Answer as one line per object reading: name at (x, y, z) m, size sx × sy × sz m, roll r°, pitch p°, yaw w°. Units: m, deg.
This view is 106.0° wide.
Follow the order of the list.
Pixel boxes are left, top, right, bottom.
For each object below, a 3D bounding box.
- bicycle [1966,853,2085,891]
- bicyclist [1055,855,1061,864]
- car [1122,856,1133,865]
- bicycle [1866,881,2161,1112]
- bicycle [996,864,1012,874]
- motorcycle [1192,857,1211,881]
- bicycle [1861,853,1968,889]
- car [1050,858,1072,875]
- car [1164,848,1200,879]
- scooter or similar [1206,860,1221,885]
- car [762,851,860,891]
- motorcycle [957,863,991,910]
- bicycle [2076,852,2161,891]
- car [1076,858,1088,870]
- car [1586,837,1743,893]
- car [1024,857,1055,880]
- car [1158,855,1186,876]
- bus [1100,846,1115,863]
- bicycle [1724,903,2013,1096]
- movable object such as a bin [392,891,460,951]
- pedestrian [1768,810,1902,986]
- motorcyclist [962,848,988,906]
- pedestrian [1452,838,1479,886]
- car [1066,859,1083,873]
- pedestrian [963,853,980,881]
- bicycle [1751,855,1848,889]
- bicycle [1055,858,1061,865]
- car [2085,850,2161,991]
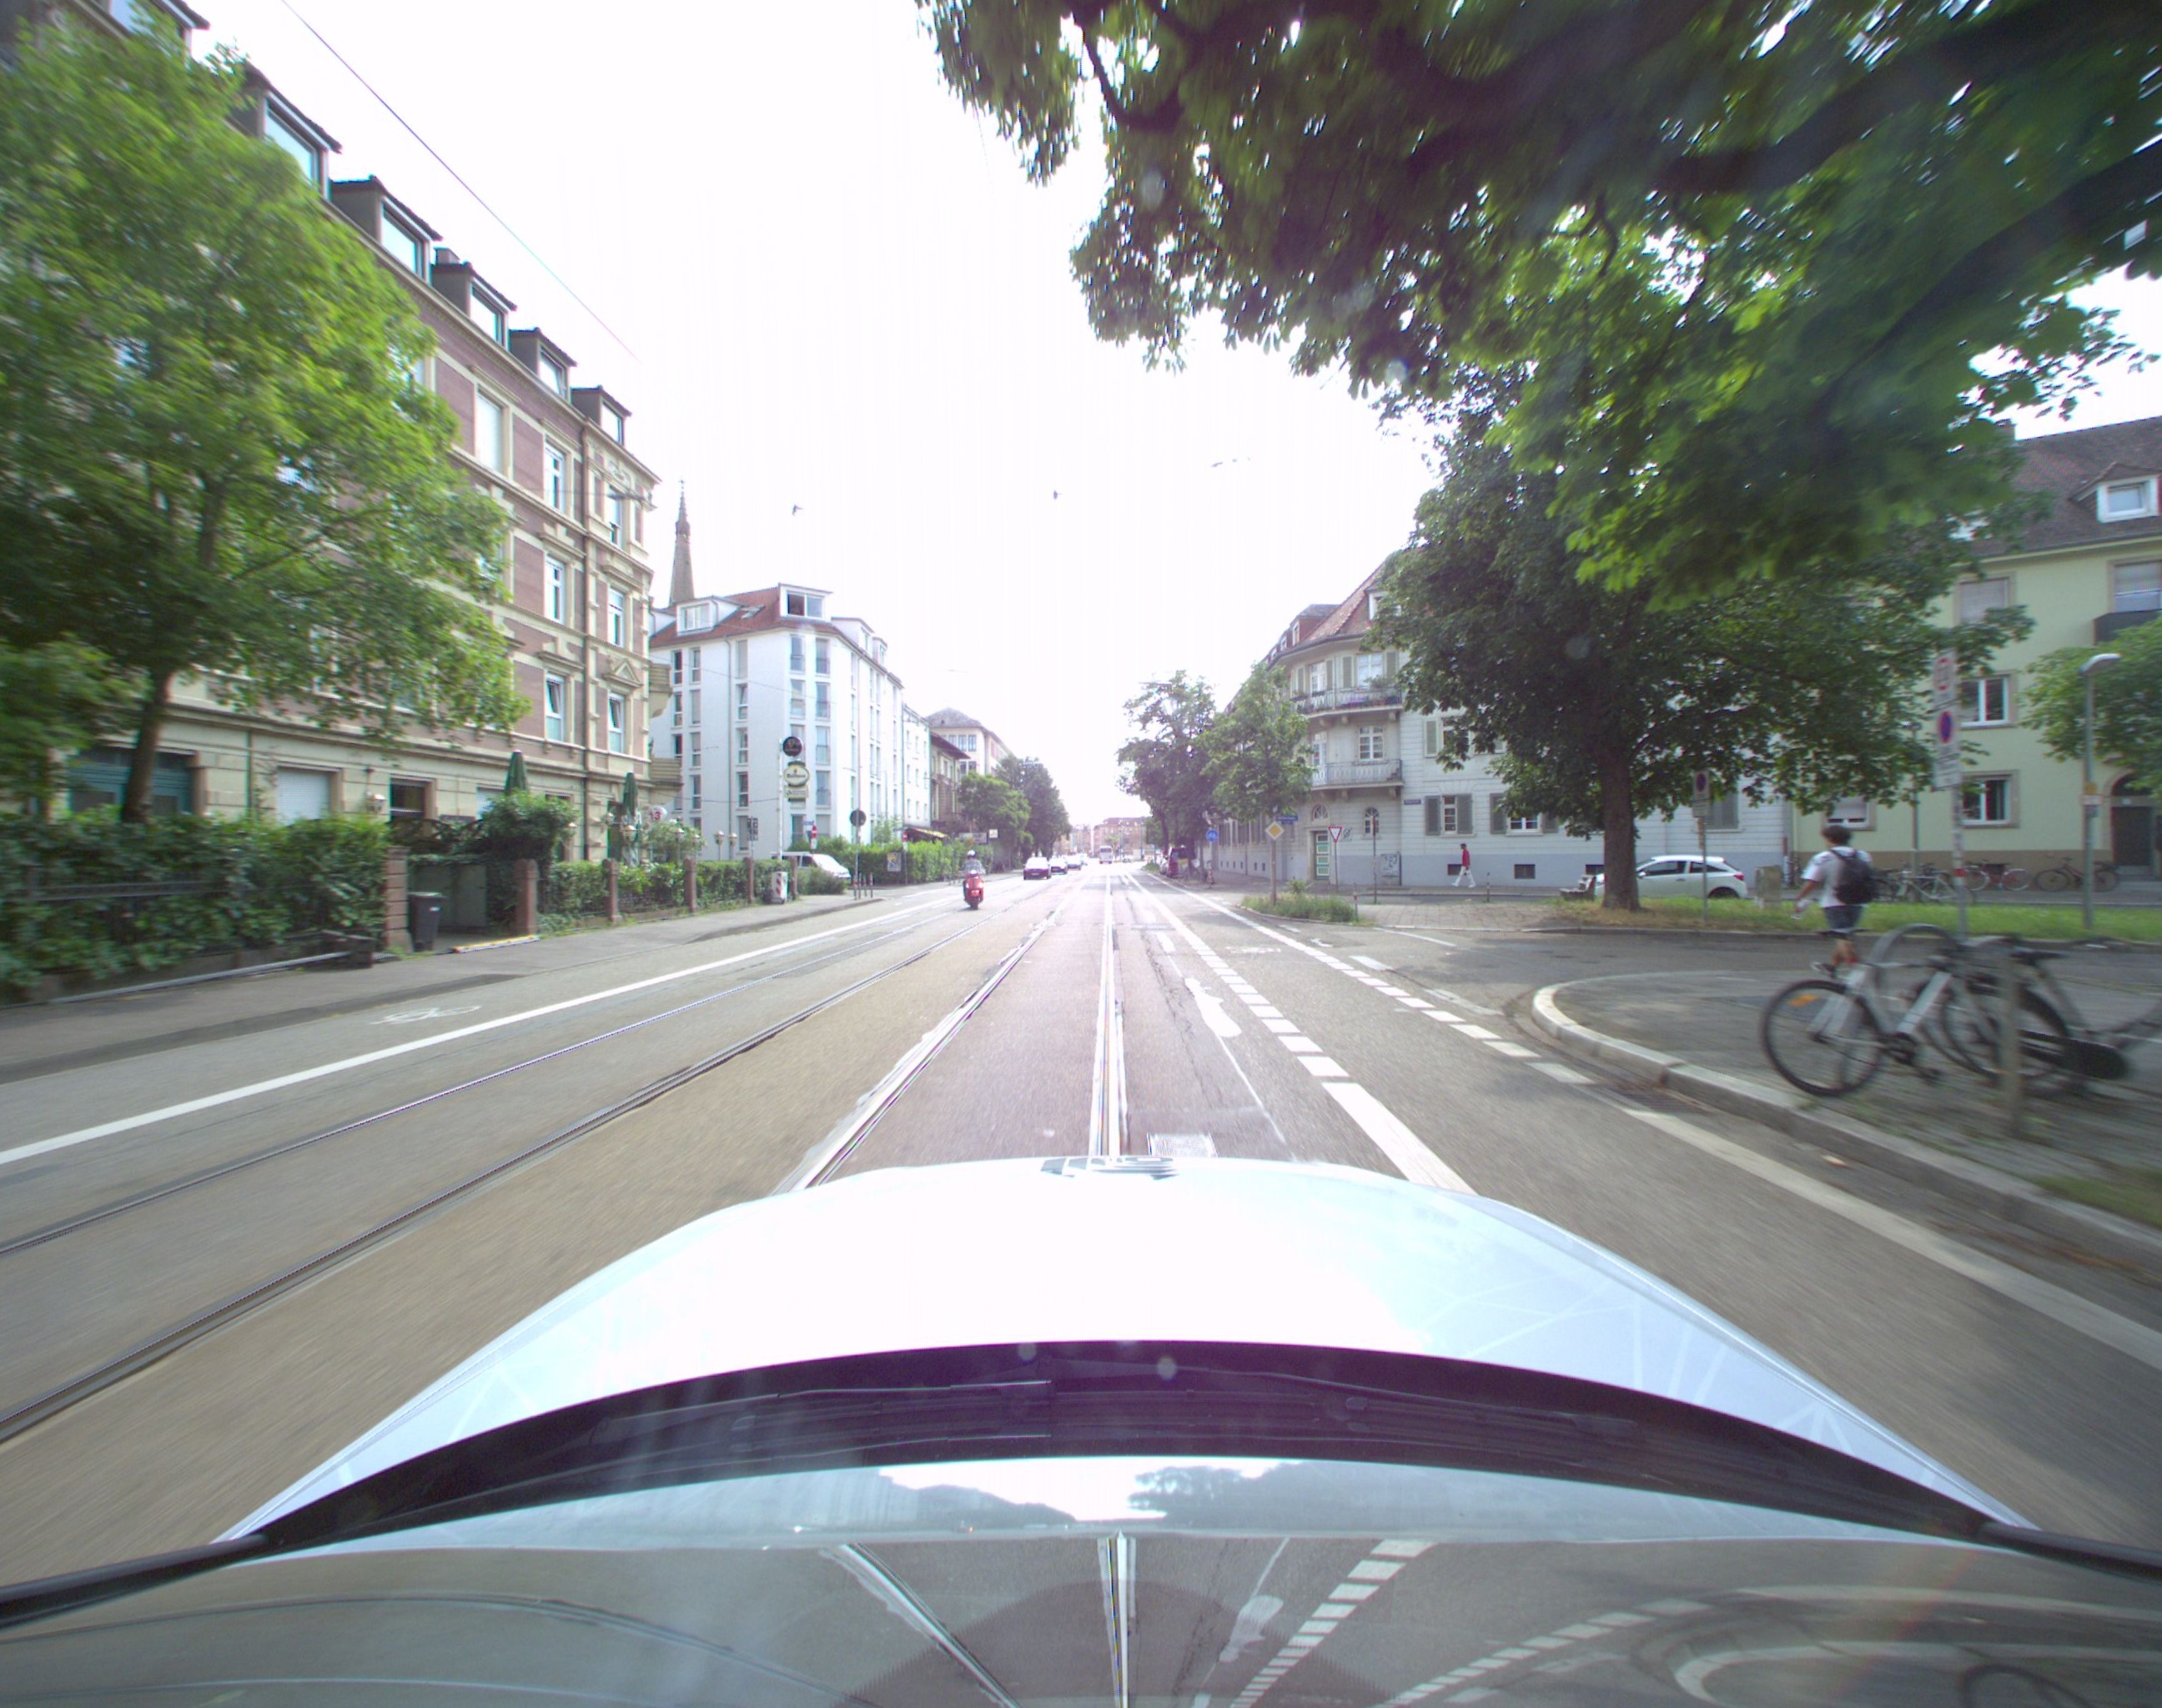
bicycle at (30.482, 0.593, 26.332) m, size 2.485 × 1.147 × 0.686 m, roll -1°, pitch 2°, yaw 22°
bicyclist at (-3.720, 0.866, 131.509) m, size 0.596 × 1.492 × 0.883 m, roll -6°, pitch 0°, yaw 4°
car at (9.537, 1.329, 168.575) m, size 2.123 × 1.684 × 4.103 m, roll 0°, pitch 1°, yaw 1°
bicycle at (5.790, 0.762, 4.650) m, size 0.586 × 1.158 × 1.826 m, roll 0°, pitch 0°, yaw -16°
bicycle at (-7.431, 1.467, 78.792) m, size 1.138 × 0.909 × 2.990 m, roll 2°, pitch 0°, yaw 2°
motorcycle at (6.798, 0.850, 46.069) m, size 0.854 × 1.321 × 2.447 m, roll -1°, pitch 0°, yaw 3°
bicycle at (28.288, 0.577, 27.702) m, size 2.485 × 1.147 × 0.686 m, roll -1°, pitch 2°, yaw 22°
car at (-1.727, 1.101, 70.624) m, size 1.622 × 1.407 × 4.131 m, roll 0°, pitch 0°, yaw 2°
car at (6.698, 0.615, 54.272) m, size 1.888 × 1.941 × 4.952 m, roll -1°, pitch 0°, yaw 2°
scooter or similar at (6.773, 0.937, 41.650) m, size 0.530 × 1.251 × 1.721 m, roll -2°, pitch -1°, yaw 3°
car at (-14.610, 0.913, 44.035) m, size 4.886 × 2.014 × 2.061 m, roll -1°, pitch -1°, yaw 24°
motorcycle at (-3.204, 0.952, 24.583) m, size 0.737 × 1.360 × 2.088 m, roll -1°, pitch 0°, yaw -1°
bicycle at (32.866, 0.544, 25.287) m, size 2.485 × 1.147 × 0.686 m, roll -1°, pitch 2°, yaw 22°
car at (0.148, 1.551, 129.396) m, size 1.891 × 1.907 × 5.384 m, roll -1°, pitch 0°, yaw 1°
car at (17.113, 0.313, 24.097) m, size 3.574 × 1.498 × 1.742 m, roll -1°, pitch 2°, yaw 28°
car at (-2.791, 0.965, 55.160) m, size 1.587 × 1.440 × 3.940 m, roll -2°, pitch 0°, yaw 4°
car at (6.931, 0.871, 62.508) m, size 1.700 × 1.498 × 4.791 m, roll -1°, pitch 0°, yaw 2°
bus at (5.158, 0.131, 161.516) m, size 2.907 × 3.328 × 12.208 m, roll 0°, pitch -1°, yaw 1°
bicycle at (4.711, 0.851, 4.919) m, size 1.263 × 1.066 × 0.478 m, roll -1°, pitch -1°, yaw 1°
movable object such as a bin at (-10.656, 1.076, 13.273) m, size 0.576 × 0.925 × 0.641 m, roll -1°, pitch 0°, yaw 2°
pedestrian at (8.346, 0.463, 9.065) m, size 0.614 × 1.834 × 1.033 m, roll -1°, pitch -1°, yaw 10°
motorcyclist at (-3.211, 0.673, 24.609) m, size 0.738 × 1.714 × 0.919 m, roll -1°, pitch -1°, yaw -8°
pedestrian at (15.908, 0.334, 33.686) m, size 0.965 × 1.937 × 0.907 m, roll 0°, pitch -1°, yaw 28°
car at (-0.720, 1.316, 92.892) m, size 1.721 × 1.540 × 4.277 m, roll -2°, pitch 0°, yaw 1°
pedestrian at (-7.714, 0.917, 57.538) m, size 1.056 × 1.917 × 0.829 m, roll -1°, pitch -1°, yaw 0°
bicycle at (25.408, 0.631, 28.852) m, size 2.485 × 1.147 × 0.686 m, roll -1°, pitch 2°, yaw 22°
bicycle at (-3.681, 1.168, 131.517) m, size 0.600 × 1.097 × 2.025 m, roll -6°, pitch 0°, yaw 5°
car at (12.793, 0.662, 7.832) m, size 3.530 × 1.452 × 1.741 m, roll -1°, pitch -1°, yaw 25°
